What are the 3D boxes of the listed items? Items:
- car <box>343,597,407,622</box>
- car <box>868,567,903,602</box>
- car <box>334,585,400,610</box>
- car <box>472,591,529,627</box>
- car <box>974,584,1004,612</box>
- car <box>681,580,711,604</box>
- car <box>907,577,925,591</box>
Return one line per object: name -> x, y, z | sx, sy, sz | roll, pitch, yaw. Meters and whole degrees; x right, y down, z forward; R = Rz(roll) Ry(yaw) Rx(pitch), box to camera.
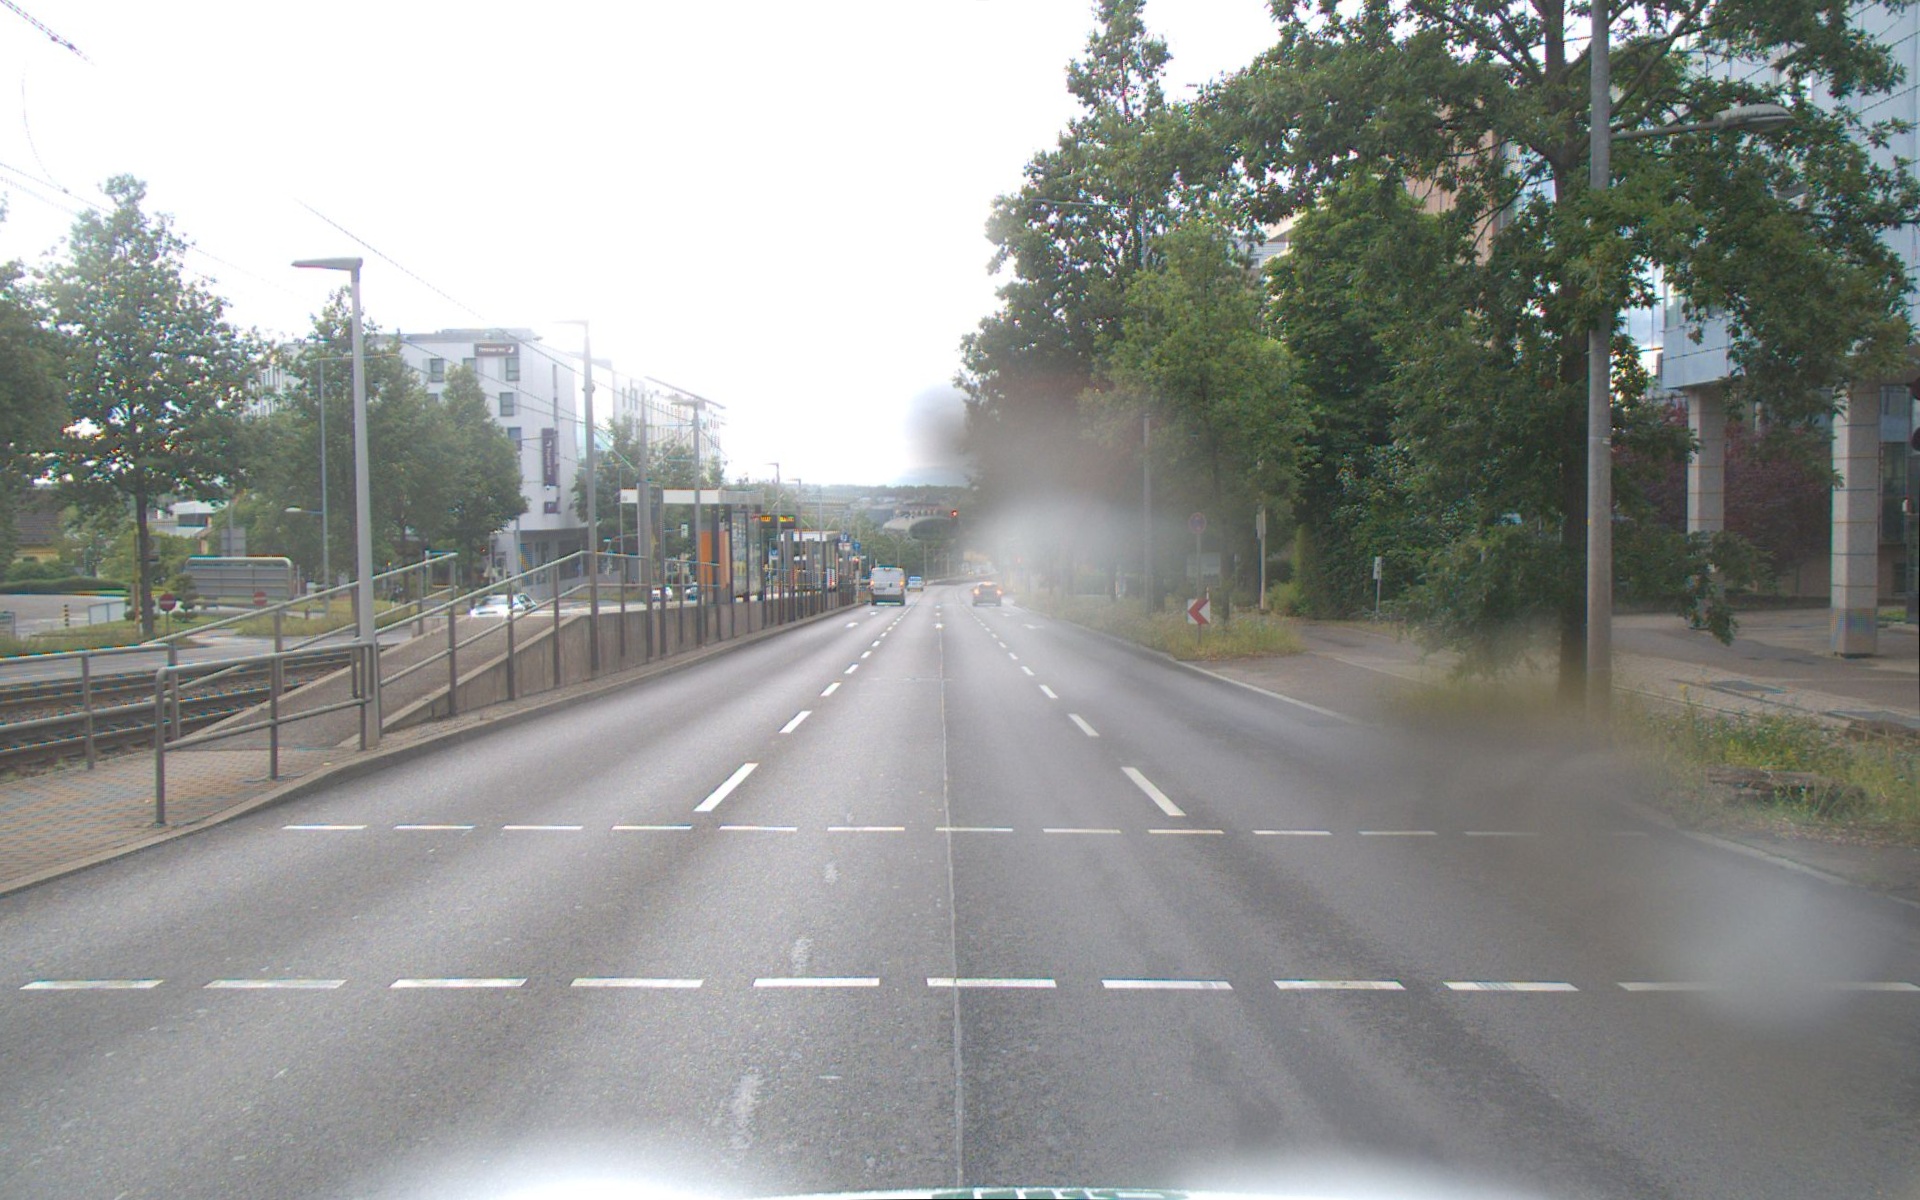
car -> -33.872, 0.520, 95.823 | 3.297, 1.411, 1.434 | 0, 1, 16
car -> -4.575, -0.976, 102.422 | 2.050, 2.089, 4.605 | 0, 1, -1
car -> -33.725, -0.153, 94.030 | 3.297, 1.411, 1.434 | 0, 1, 13
car -> -20.523, 0.382, 73.990 | 1.618, 1.461, 3.877 | -2, 1, -4
car -> 1.804, -0.146, 102.674 | 1.738, 1.720, 3.845 | 0, 1, -1
car -> -17.185, -0.522, 107.630 | 1.622, 1.461, 3.866 | -2, 1, -14
car -> -4.644, -1.724, 174.891 | 1.746, 1.414, 4.001 | 0, 1, 1
